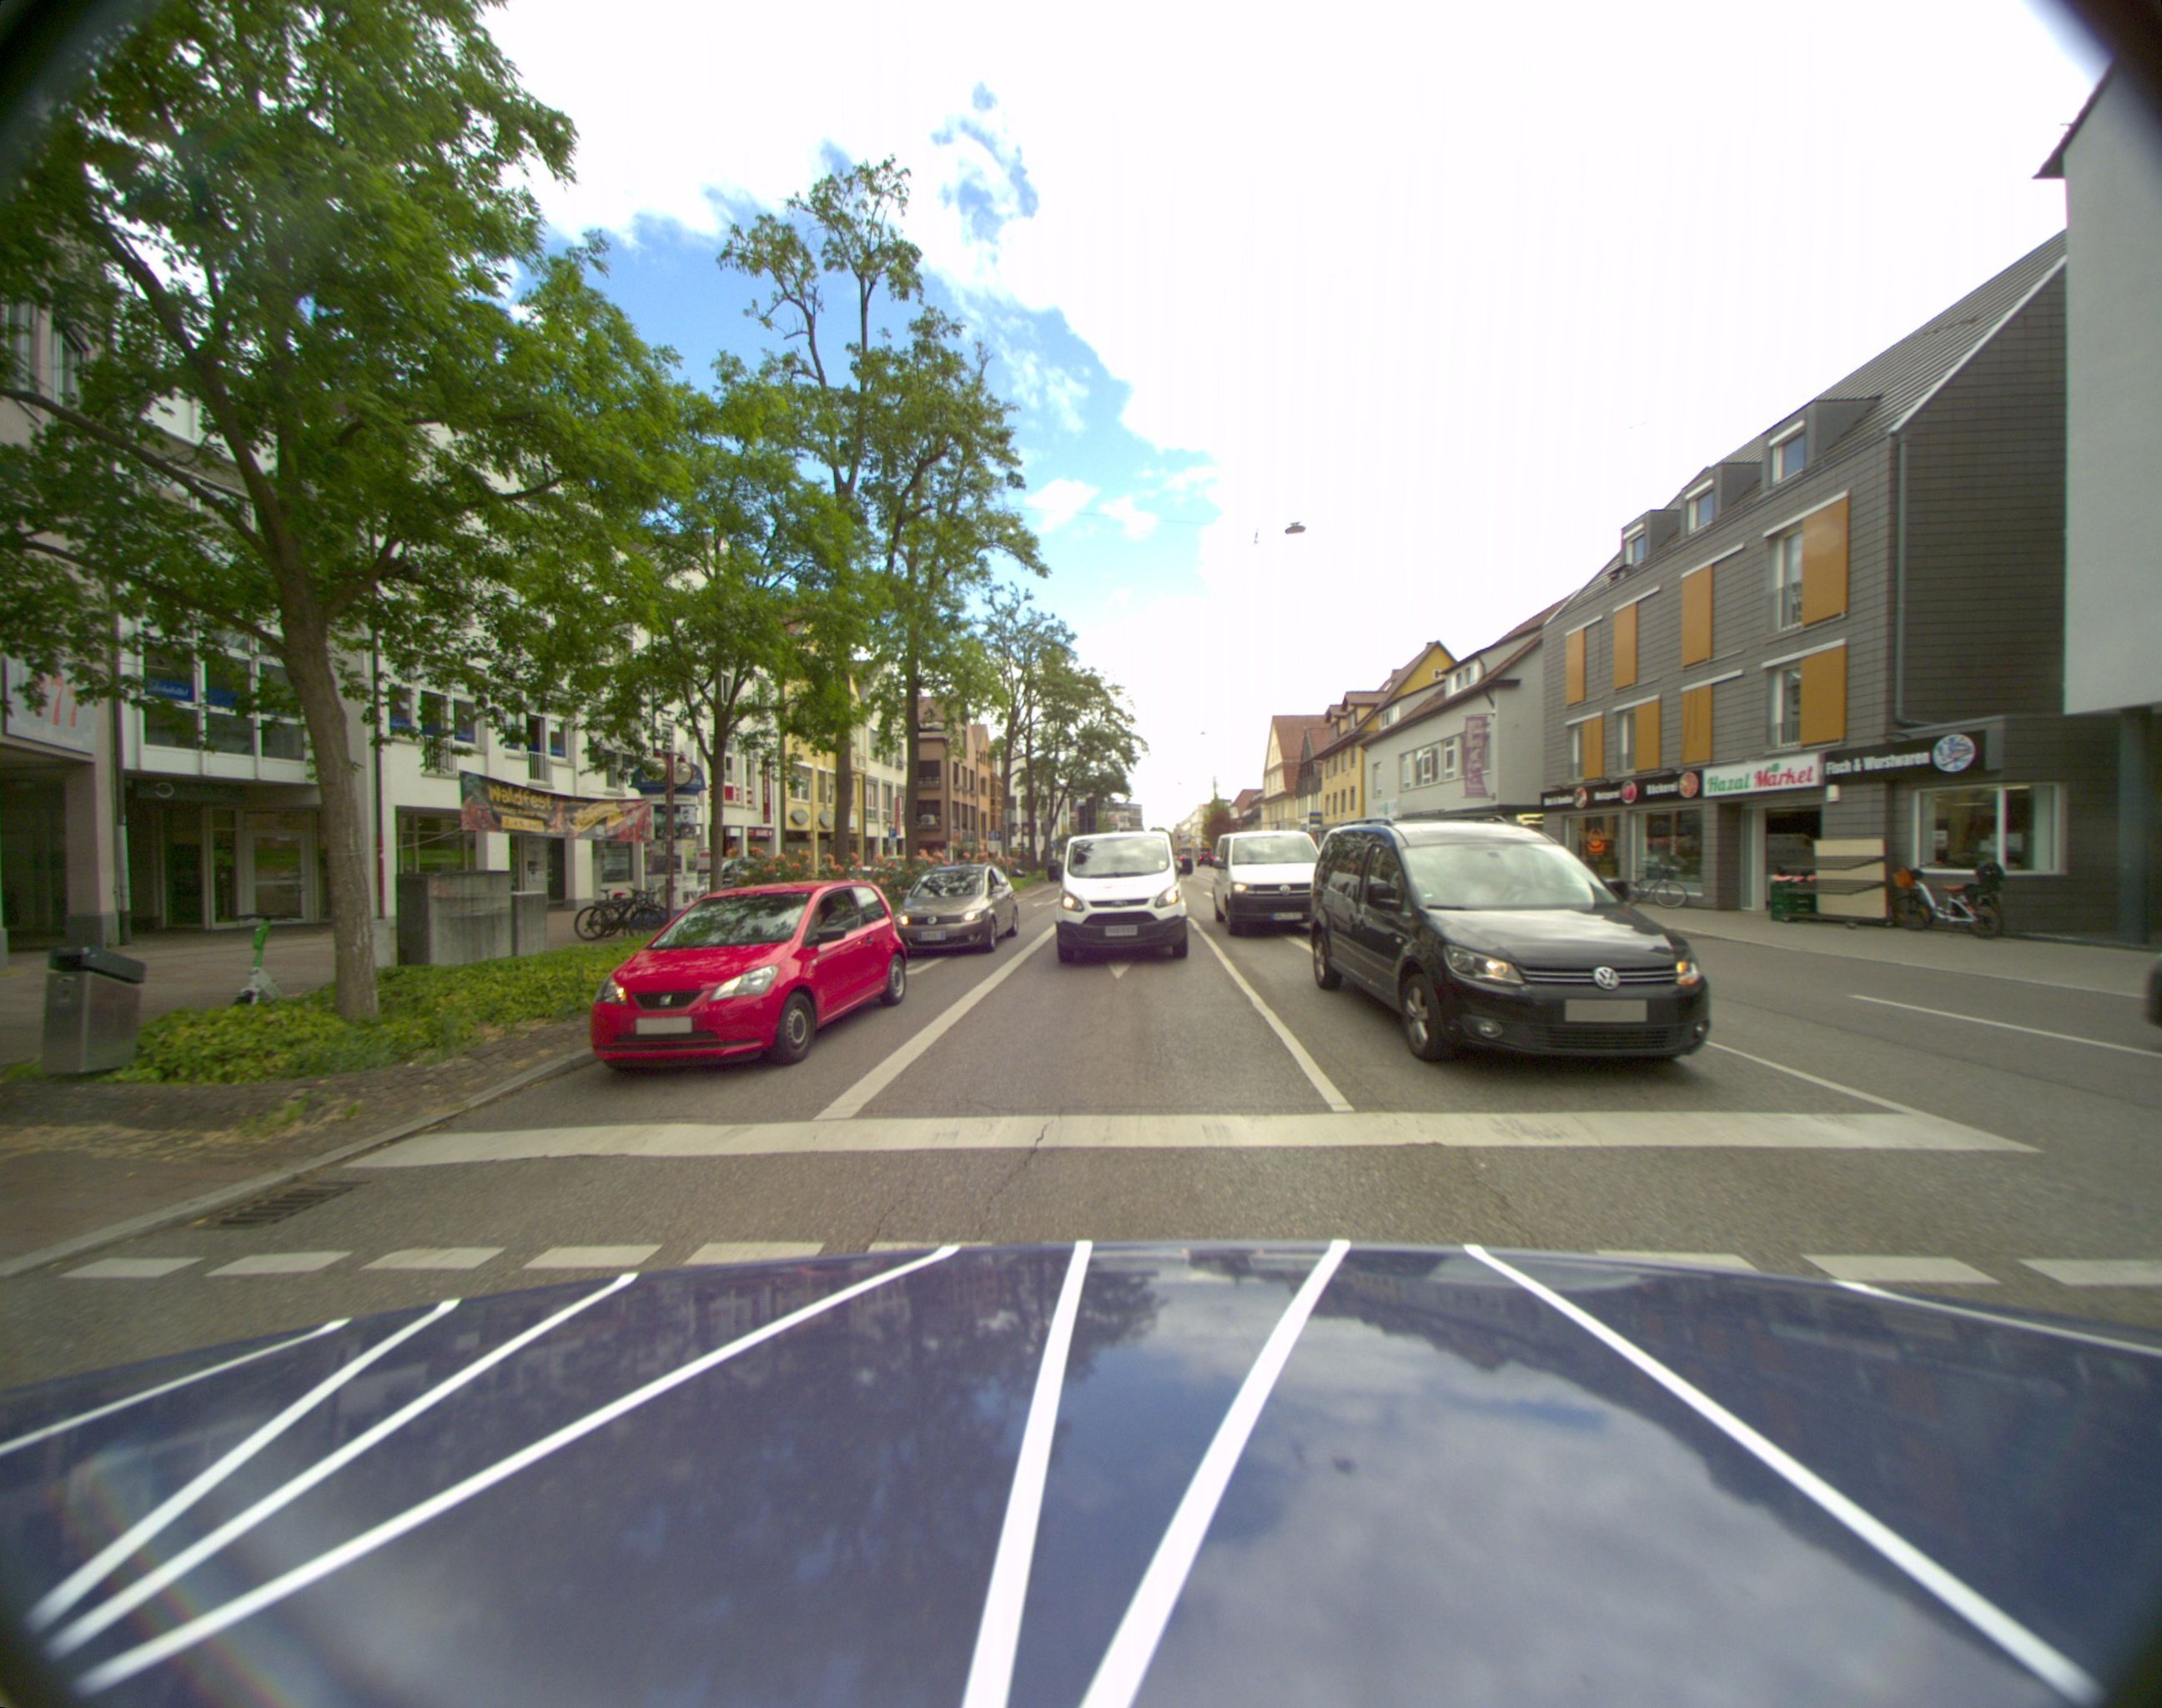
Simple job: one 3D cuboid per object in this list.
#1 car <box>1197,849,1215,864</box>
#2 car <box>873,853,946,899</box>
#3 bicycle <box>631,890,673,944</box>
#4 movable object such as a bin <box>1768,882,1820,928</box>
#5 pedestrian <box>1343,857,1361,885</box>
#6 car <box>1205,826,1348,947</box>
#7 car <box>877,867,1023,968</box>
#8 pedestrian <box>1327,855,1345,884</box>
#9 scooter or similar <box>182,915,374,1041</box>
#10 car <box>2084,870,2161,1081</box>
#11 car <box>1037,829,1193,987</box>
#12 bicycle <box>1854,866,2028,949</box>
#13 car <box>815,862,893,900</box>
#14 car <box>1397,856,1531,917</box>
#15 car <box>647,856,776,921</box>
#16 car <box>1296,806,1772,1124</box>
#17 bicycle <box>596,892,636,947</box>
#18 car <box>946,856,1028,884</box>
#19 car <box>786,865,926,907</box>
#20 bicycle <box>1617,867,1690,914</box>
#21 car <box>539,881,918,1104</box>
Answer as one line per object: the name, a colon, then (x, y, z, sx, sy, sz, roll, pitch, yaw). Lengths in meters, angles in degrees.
car: (16.670, 0.308, 101.662, 1.927, 1.957, 4.771, 0, 0, 4)
car: (-7.628, 0.921, 34.295, 1.998, 1.865, 4.754, 0, 1, 3)
bicycle: (-9.233, 1.325, 16.326, 0.407, 1.042, 1.565, -1, 1, -43)
movable object such as a bin: (14.275, 1.015, 15.216, 0.552, 0.894, 0.507, -1, 0, 3)
pedestrian: (16.054, 1.005, 45.052, 0.811, 1.574, 0.921, -1, 1, 6)
car: (3.759, 0.561, 15.500, 1.998, 2.002, 4.841, -2, 0, 5)
car: (-2.307, 1.080, 14.490, 1.801, 1.521, 4.001, -3, 0, 3)
pedestrian: (15.059, 0.902, 44.947, 0.811, 1.651, 0.921, -1, 1, 6)
scooter or similar: (-8.879, 1.313, 8.518, 0.471, 1.081, 1.885, -1, 1, -12)
car: (8.215, 0.845, 3.712, 1.748, 1.450, 3.819, 0, 0, 5)
car: (0.692, 0.699, 12.753, 1.939, 1.968, 5.782, -3, 0, 5)
bicycle: (14.145, 0.828, 12.607, 0.583, 1.225, 2.120, -1, 0, 4)
car: (-10.196, 1.165, 34.549, 1.998, 1.538, 4.754, 0, 1, 2)
car: (10.217, 0.806, 20.635, 1.873, 1.477, 4.001, -1, 0, 5)
car: (-11.275, 0.974, 23.545, 1.738, 1.793, 4.262, 0, 0, 3)
car: (3.289, 0.660, 6.742, 1.711, 1.810, 4.573, -3, 0, 4)
bicycle: (-9.902, 1.370, 16.167, 0.407, 1.042, 1.565, -1, 1, -43)
car: (-5.567, 0.945, 45.385, 4.752, 1.669, 1.999, 0, 0, -4)
car: (-8.306, 1.158, 28.219, 4.648, 1.445, 1.740, 0, 0, 5)
bicycle: (14.496, 0.900, 19.301, 0.573, 1.094, 1.903, -1, 0, 5)
car: (-2.986, 1.091, 7.369, 1.630, 1.440, 3.643, -3, 0, 6)
